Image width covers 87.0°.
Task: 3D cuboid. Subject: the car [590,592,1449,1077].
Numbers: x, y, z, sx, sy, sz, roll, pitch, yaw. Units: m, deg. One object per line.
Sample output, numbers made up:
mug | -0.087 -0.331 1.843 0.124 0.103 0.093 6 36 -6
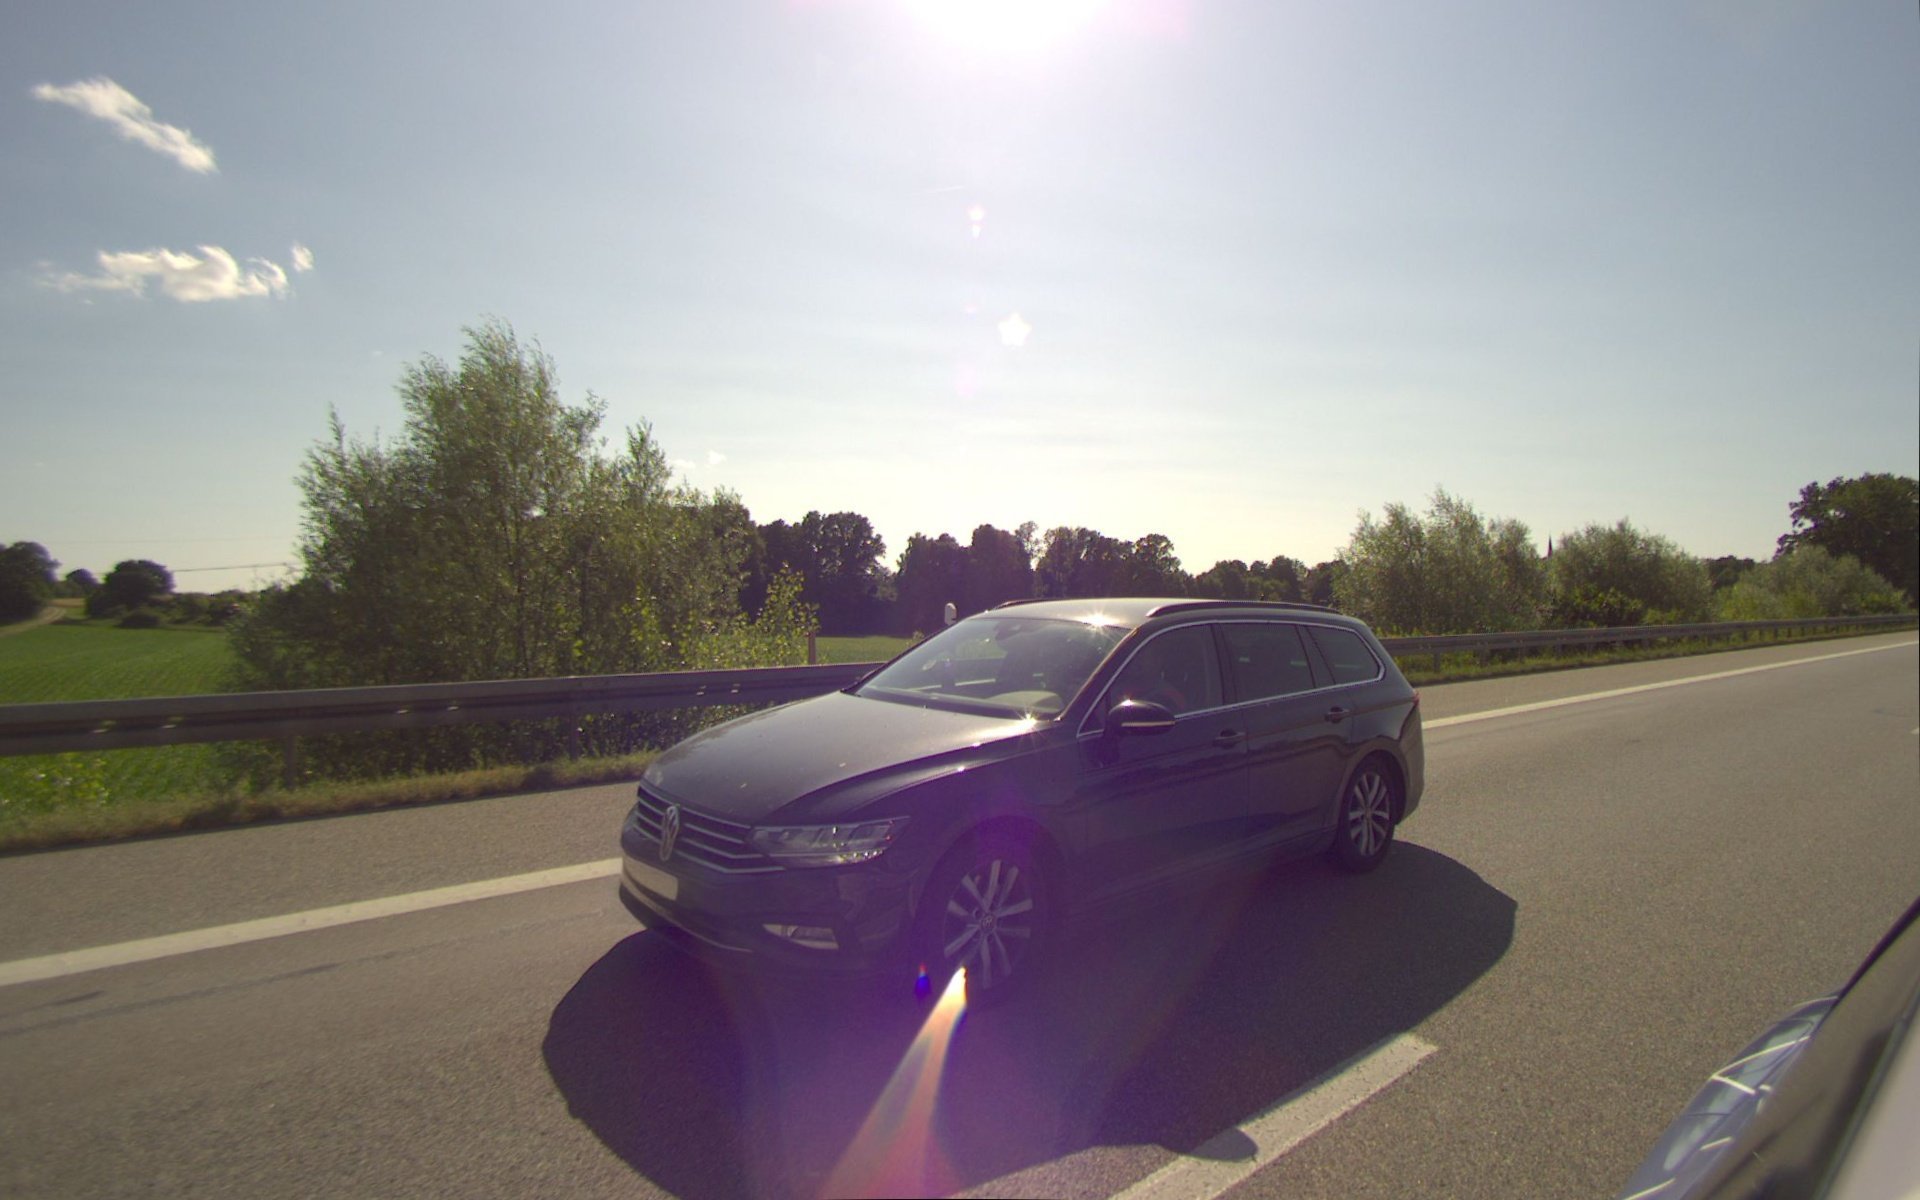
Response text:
car | 0.618 0.673 5.059 4.336 1.417 1.722 -1 0 -41
